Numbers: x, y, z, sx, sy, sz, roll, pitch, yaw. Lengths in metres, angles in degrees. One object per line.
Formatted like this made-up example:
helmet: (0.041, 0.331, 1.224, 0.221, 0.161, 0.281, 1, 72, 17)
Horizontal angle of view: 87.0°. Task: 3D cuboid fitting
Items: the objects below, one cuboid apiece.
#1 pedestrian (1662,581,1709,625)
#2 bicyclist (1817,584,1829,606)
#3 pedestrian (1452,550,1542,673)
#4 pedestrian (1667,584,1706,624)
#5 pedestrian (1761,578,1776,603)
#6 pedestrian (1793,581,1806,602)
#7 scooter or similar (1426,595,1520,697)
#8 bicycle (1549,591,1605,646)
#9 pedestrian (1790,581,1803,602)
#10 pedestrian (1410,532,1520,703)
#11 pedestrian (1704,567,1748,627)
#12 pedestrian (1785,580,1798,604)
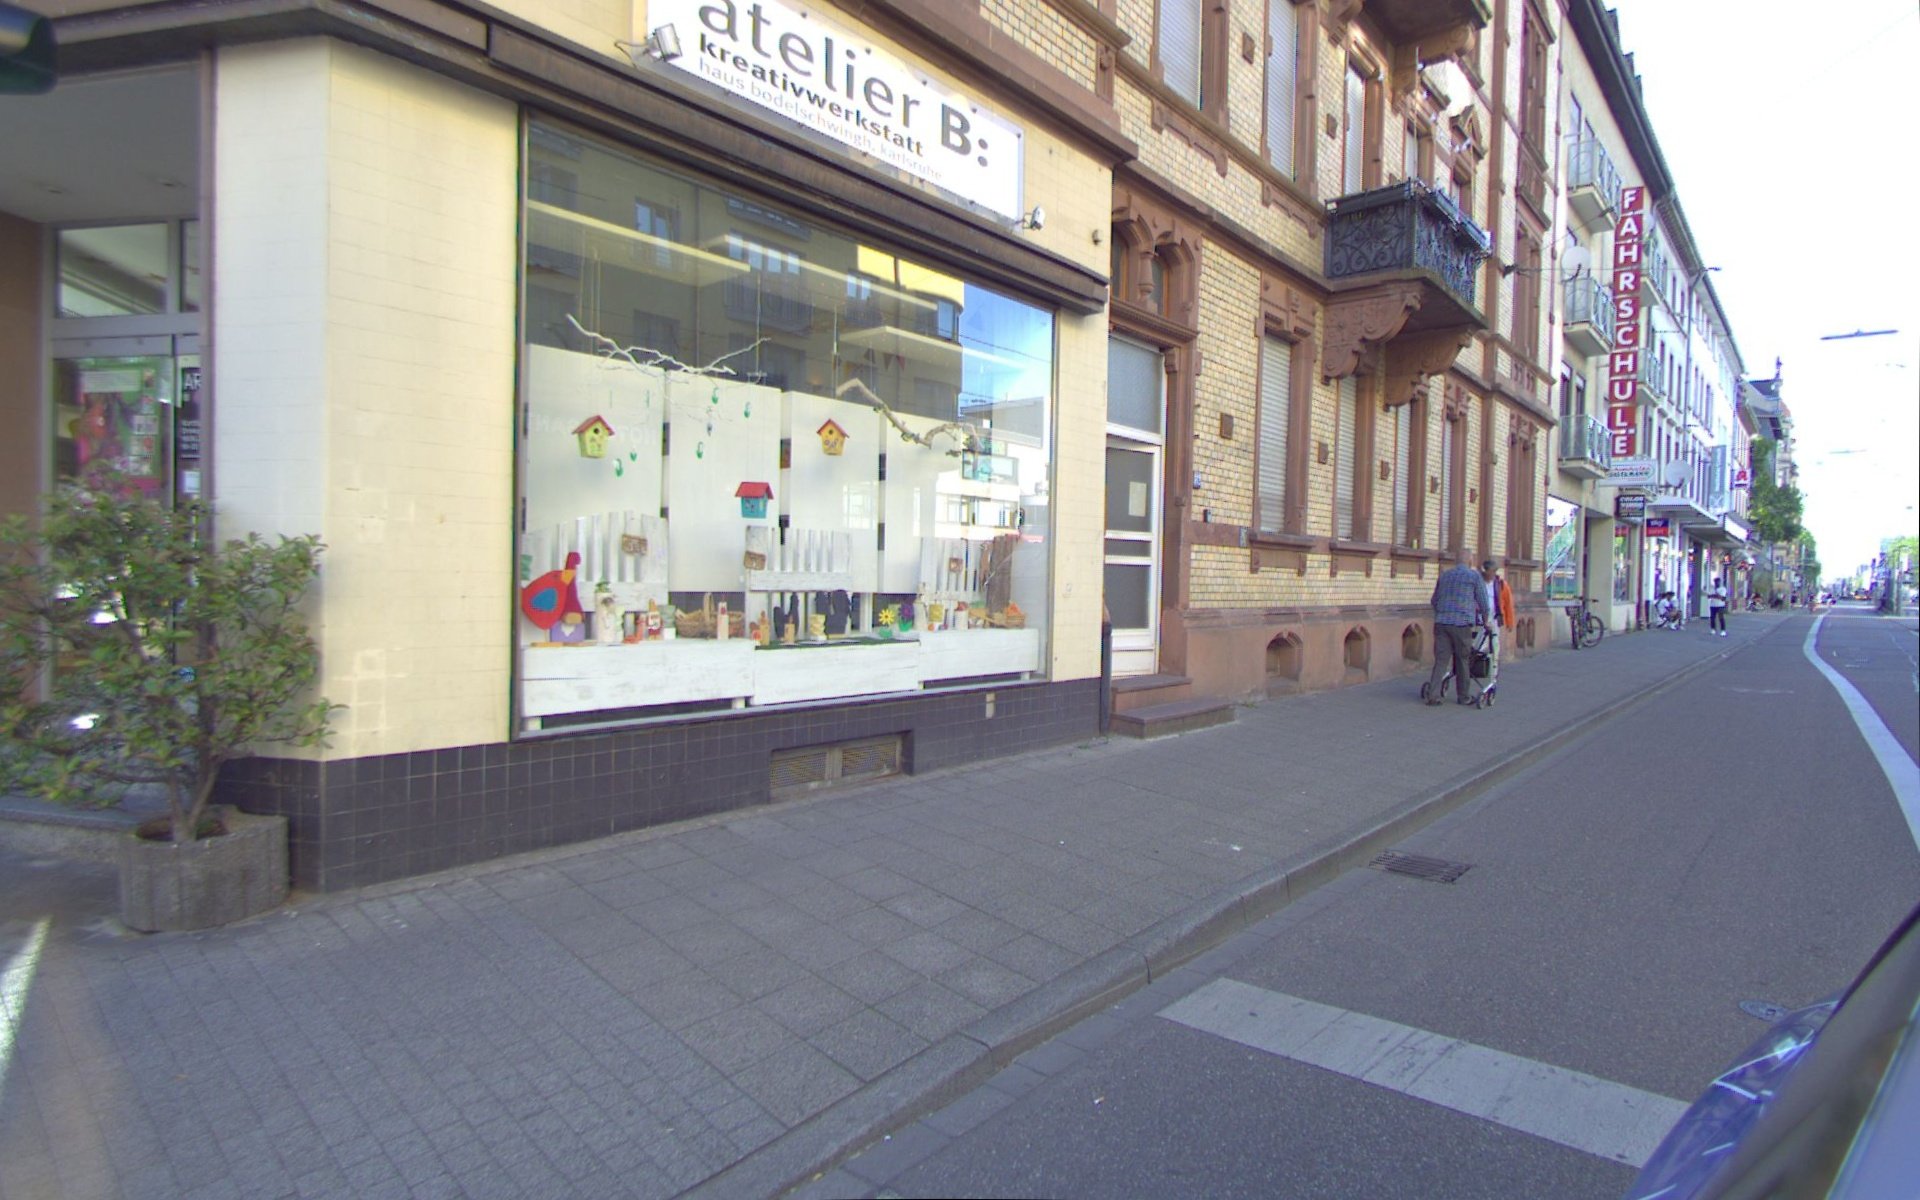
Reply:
pedestrian: (23.231, 0.073, 32.411, 0.817, 1.270, 0.706, 6, 5, 7)
bicyclist: (65.402, -0.389, 76.692, 0.674, 1.634, 0.825, 1, 1, 40)
pedestrian: (7.763, 0.163, 14.640, 0.798, 1.646, 0.813, 9, 5, 43)
pedestrian: (23.846, 0.118, 33.240, 0.699, 1.188, 1.009, 8, 5, 22)
pedestrian: (59.240, -0.675, 74.150, 0.685, 1.793, 0.693, 0, 2, -43)
pedestrian: (72.775, -0.753, 87.732, 0.805, 1.822, 0.750, 2, 2, 42)
scooter or similar: (6.118, 0.528, 12.078, 0.805, 1.082, 0.513, 8, 6, 42)
bicycle: (13.085, 0.369, 21.439, 0.555, 1.073, 2.276, 5, 4, 42)
pedestrian: (63.743, -0.658, 77.145, 0.647, 1.598, 0.674, 2, 1, 35)
pedestrian: (5.755, 0.180, 11.539, 0.805, 1.821, 0.750, 7, 4, 42)
pedestrian: (24.659, -0.097, 32.580, 0.666, 1.833, 0.708, 3, 5, -33)
pedestrian: (63.581, -0.599, 77.361, 0.685, 1.793, 0.650, 0, 2, -43)
